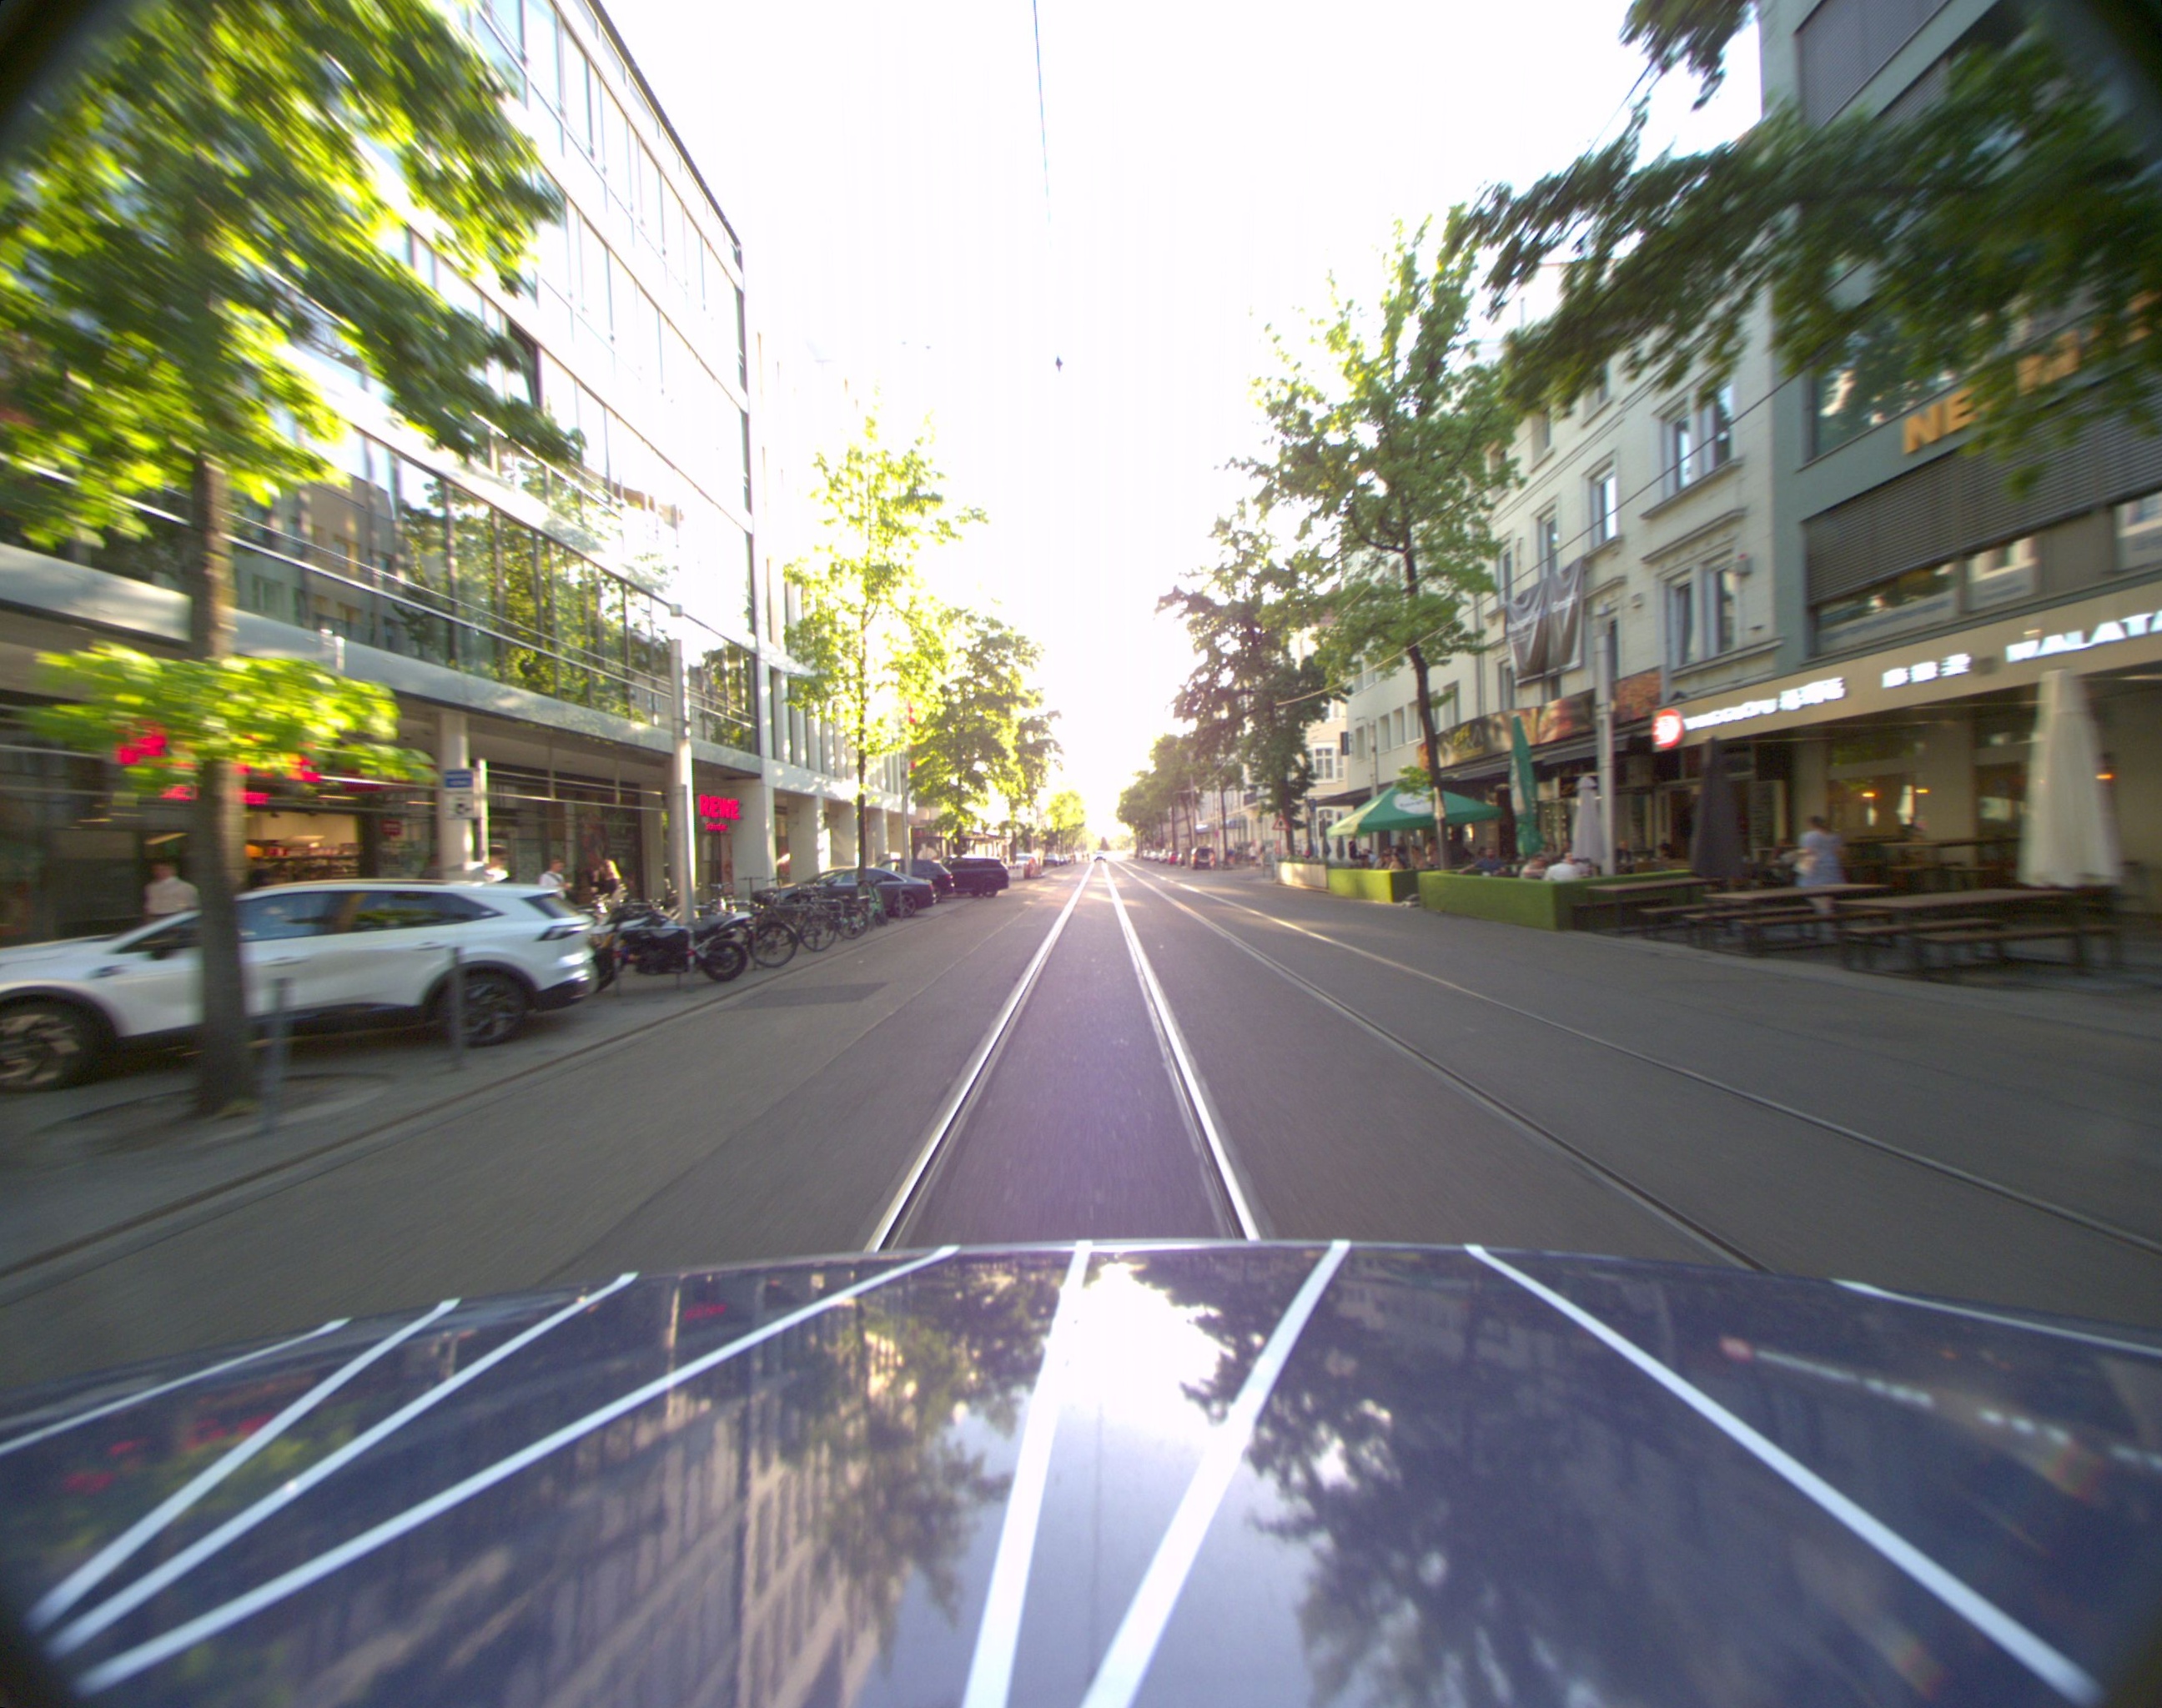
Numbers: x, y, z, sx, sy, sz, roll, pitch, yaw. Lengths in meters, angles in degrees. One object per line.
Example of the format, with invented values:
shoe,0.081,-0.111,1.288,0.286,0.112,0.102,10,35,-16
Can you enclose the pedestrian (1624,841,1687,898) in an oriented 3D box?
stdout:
pedestrian,12.572,0.328,16.658,0.702,1.161,0.788,-5,1,1

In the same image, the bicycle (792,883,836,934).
bicycle,-6.572,1.307,18.646,0.553,1.101,1.845,0,1,-34

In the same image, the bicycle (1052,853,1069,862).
bicycle,-2.960,0.539,110.733,2.325,1.181,0.751,-2,1,3

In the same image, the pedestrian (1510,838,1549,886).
pedestrian,13.001,0.225,22.047,0.620,1.302,0.697,-5,1,1

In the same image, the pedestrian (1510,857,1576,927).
pedestrian,8.798,0.712,14.501,0.658,1.237,0.873,-5,1,1

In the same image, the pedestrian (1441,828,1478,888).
pedestrian,11.495,0.122,23.099,0.679,1.746,0.697,-4,1,3

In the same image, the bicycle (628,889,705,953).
bicycle,-8.061,1.280,14.800,1.272,1.166,0.866,1,-1,-29

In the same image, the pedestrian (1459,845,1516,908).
pedestrian,9.322,0.501,17.448,0.756,1.336,0.873,-5,1,1

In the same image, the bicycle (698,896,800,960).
bicycle,-6.170,1.354,14.179,1.697,1.099,0.631,1,1,-25

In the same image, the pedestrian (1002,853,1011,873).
pedestrian,-7.080,0.857,71.906,0.690,1.820,0.635,-2,1,1

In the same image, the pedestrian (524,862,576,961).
pedestrian,-9.632,1.025,13.796,0.524,1.740,0.559,0,1,3

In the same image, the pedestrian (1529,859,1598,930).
pedestrian,8.730,0.725,13.773,0.658,1.186,0.798,-5,1,1

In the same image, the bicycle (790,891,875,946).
bicycle,-5.274,1.338,16.120,1.566,1.082,0.867,1,-1,-29

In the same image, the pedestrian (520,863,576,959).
pedestrian,-9.651,1.022,13.771,0.518,1.686,0.550,-2,1,6

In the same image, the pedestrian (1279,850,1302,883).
pedestrian,9.202,0.533,33.398,0.691,1.378,0.807,-4,1,2

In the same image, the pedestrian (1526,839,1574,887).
pedestrian,12.968,0.244,21.026,0.738,1.224,0.788,-5,1,1

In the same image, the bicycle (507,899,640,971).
bicycle,-8.552,1.337,12.886,1.780,1.099,0.631,1,1,-24

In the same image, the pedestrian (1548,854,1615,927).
pedestrian,9.463,0.671,14.385,0.658,1.286,0.798,-5,1,1

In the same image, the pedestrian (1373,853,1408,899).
pedestrian,8.879,0.626,21.812,0.620,1.238,0.697,-5,1,1

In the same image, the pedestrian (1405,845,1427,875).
pedestrian,13.508,0.224,30.660,0.553,1.155,0.687,-4,1,2

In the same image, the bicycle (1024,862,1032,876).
bicycle,-3.846,1.092,55.225,0.494,0.976,1.930,-2,1,0

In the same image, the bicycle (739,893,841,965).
bicycle,-5.289,1.329,13.870,0.480,1.157,1.698,2,1,41

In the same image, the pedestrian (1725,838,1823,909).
pedestrian,12.694,0.342,13.961,0.754,1.181,1.065,-5,1,1

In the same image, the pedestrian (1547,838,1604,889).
pedestrian,12.841,0.250,19.765,0.779,1.230,0.945,-5,1,1

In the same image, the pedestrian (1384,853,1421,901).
pedestrian,8.799,0.625,20.805,0.620,1.238,0.697,-5,1,1

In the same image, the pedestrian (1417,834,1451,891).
pedestrian,10.689,0.241,22.999,0.620,1.661,0.697,-4,1,1

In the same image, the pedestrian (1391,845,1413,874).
pedestrian,13.021,0.211,30.821,0.553,1.155,0.687,-4,1,2

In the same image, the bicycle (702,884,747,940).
bicycle,-8.227,1.294,17.476,0.628,1.124,1.883,0,1,-35

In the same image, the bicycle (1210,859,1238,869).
bicycle,10.209,0.702,54.170,1.799,0.605,1.282,-3,0,5

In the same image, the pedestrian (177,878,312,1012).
pedestrian,-10.739,1.140,9.795,0.716,1.614,0.882,-1,1,3

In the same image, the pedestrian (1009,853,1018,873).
pedestrian,-6.370,0.821,71.901,0.707,1.820,0.635,-2,1,1

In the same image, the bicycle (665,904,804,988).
bicycle,-5.327,1.373,11.724,1.899,1.113,0.666,0,1,-27

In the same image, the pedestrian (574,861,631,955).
pedestrian,-8.883,0.986,14.131,0.681,1.686,0.549,-2,1,-11

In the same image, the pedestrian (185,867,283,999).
pedestrian,-11.632,1.061,10.455,0.626,1.733,0.599,-1,1,-4

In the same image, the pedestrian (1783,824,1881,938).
pedestrian,10.965,0.381,11.115,0.649,1.565,0.700,-5,1,1

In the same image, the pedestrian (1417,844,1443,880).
pedestrian,13.179,0.303,28.708,0.603,1.291,0.687,-4,1,2

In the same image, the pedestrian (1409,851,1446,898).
pedestrian,9.508,0.549,20.871,0.620,1.238,0.697,-5,1,1

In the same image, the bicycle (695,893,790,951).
bicycle,-6.809,1.346,15.293,1.677,1.068,0.731,1,-1,-29

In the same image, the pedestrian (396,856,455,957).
pedestrian,-11.563,0.907,13.411,0.558,1.740,0.525,0,1,2

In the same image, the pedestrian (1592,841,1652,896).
pedestrian,12.559,0.328,17.664,0.738,1.207,0.788,-5,1,1

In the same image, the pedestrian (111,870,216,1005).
pedestrian,-12.276,1.091,10.187,0.626,1.733,0.599,-1,1,-2
